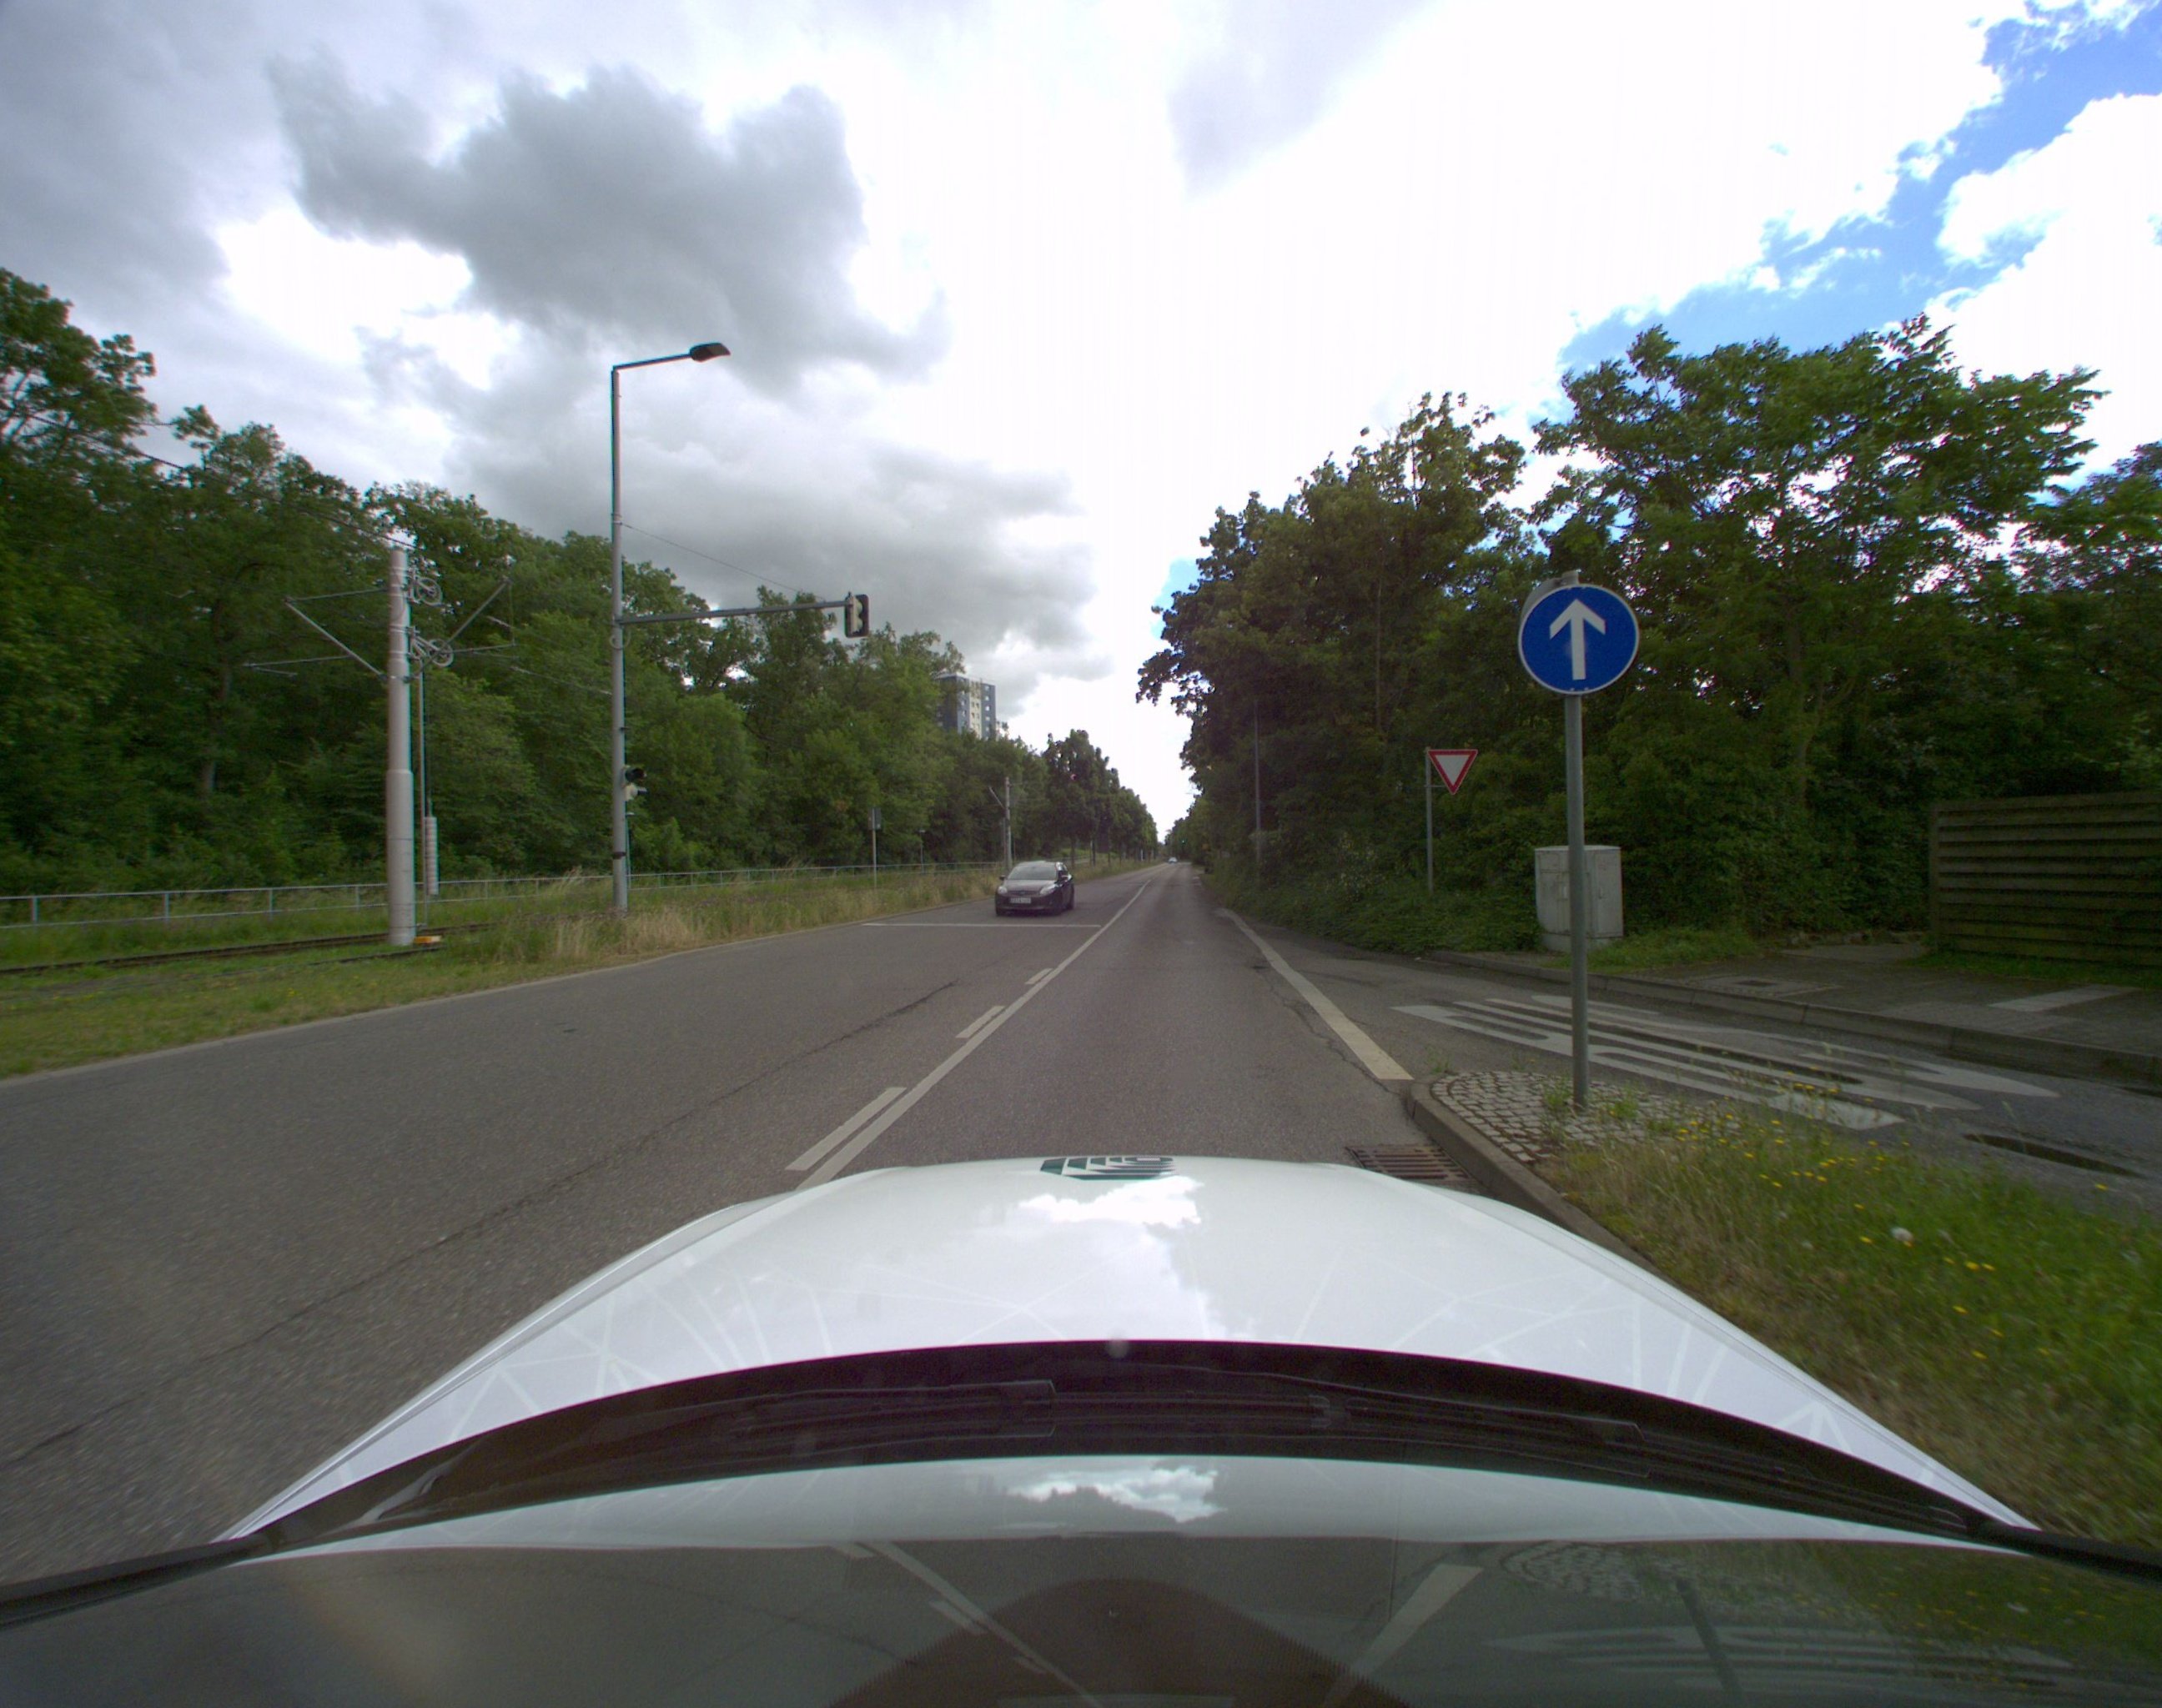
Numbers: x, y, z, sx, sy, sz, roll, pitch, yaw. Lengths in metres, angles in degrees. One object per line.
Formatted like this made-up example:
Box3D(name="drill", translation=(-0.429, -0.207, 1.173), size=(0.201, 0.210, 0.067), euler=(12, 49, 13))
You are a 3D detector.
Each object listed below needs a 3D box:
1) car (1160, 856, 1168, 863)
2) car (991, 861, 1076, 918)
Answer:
Box3D(name="car", translation=(20.939, 1.416, 204.452), size=(1.707, 1.629, 4.008), euler=(-6, -1, 7))
Box3D(name="car", translation=(-1.263, 0.953, 23.572), size=(1.747, 1.434, 4.435), euler=(-1, 0, 6))
